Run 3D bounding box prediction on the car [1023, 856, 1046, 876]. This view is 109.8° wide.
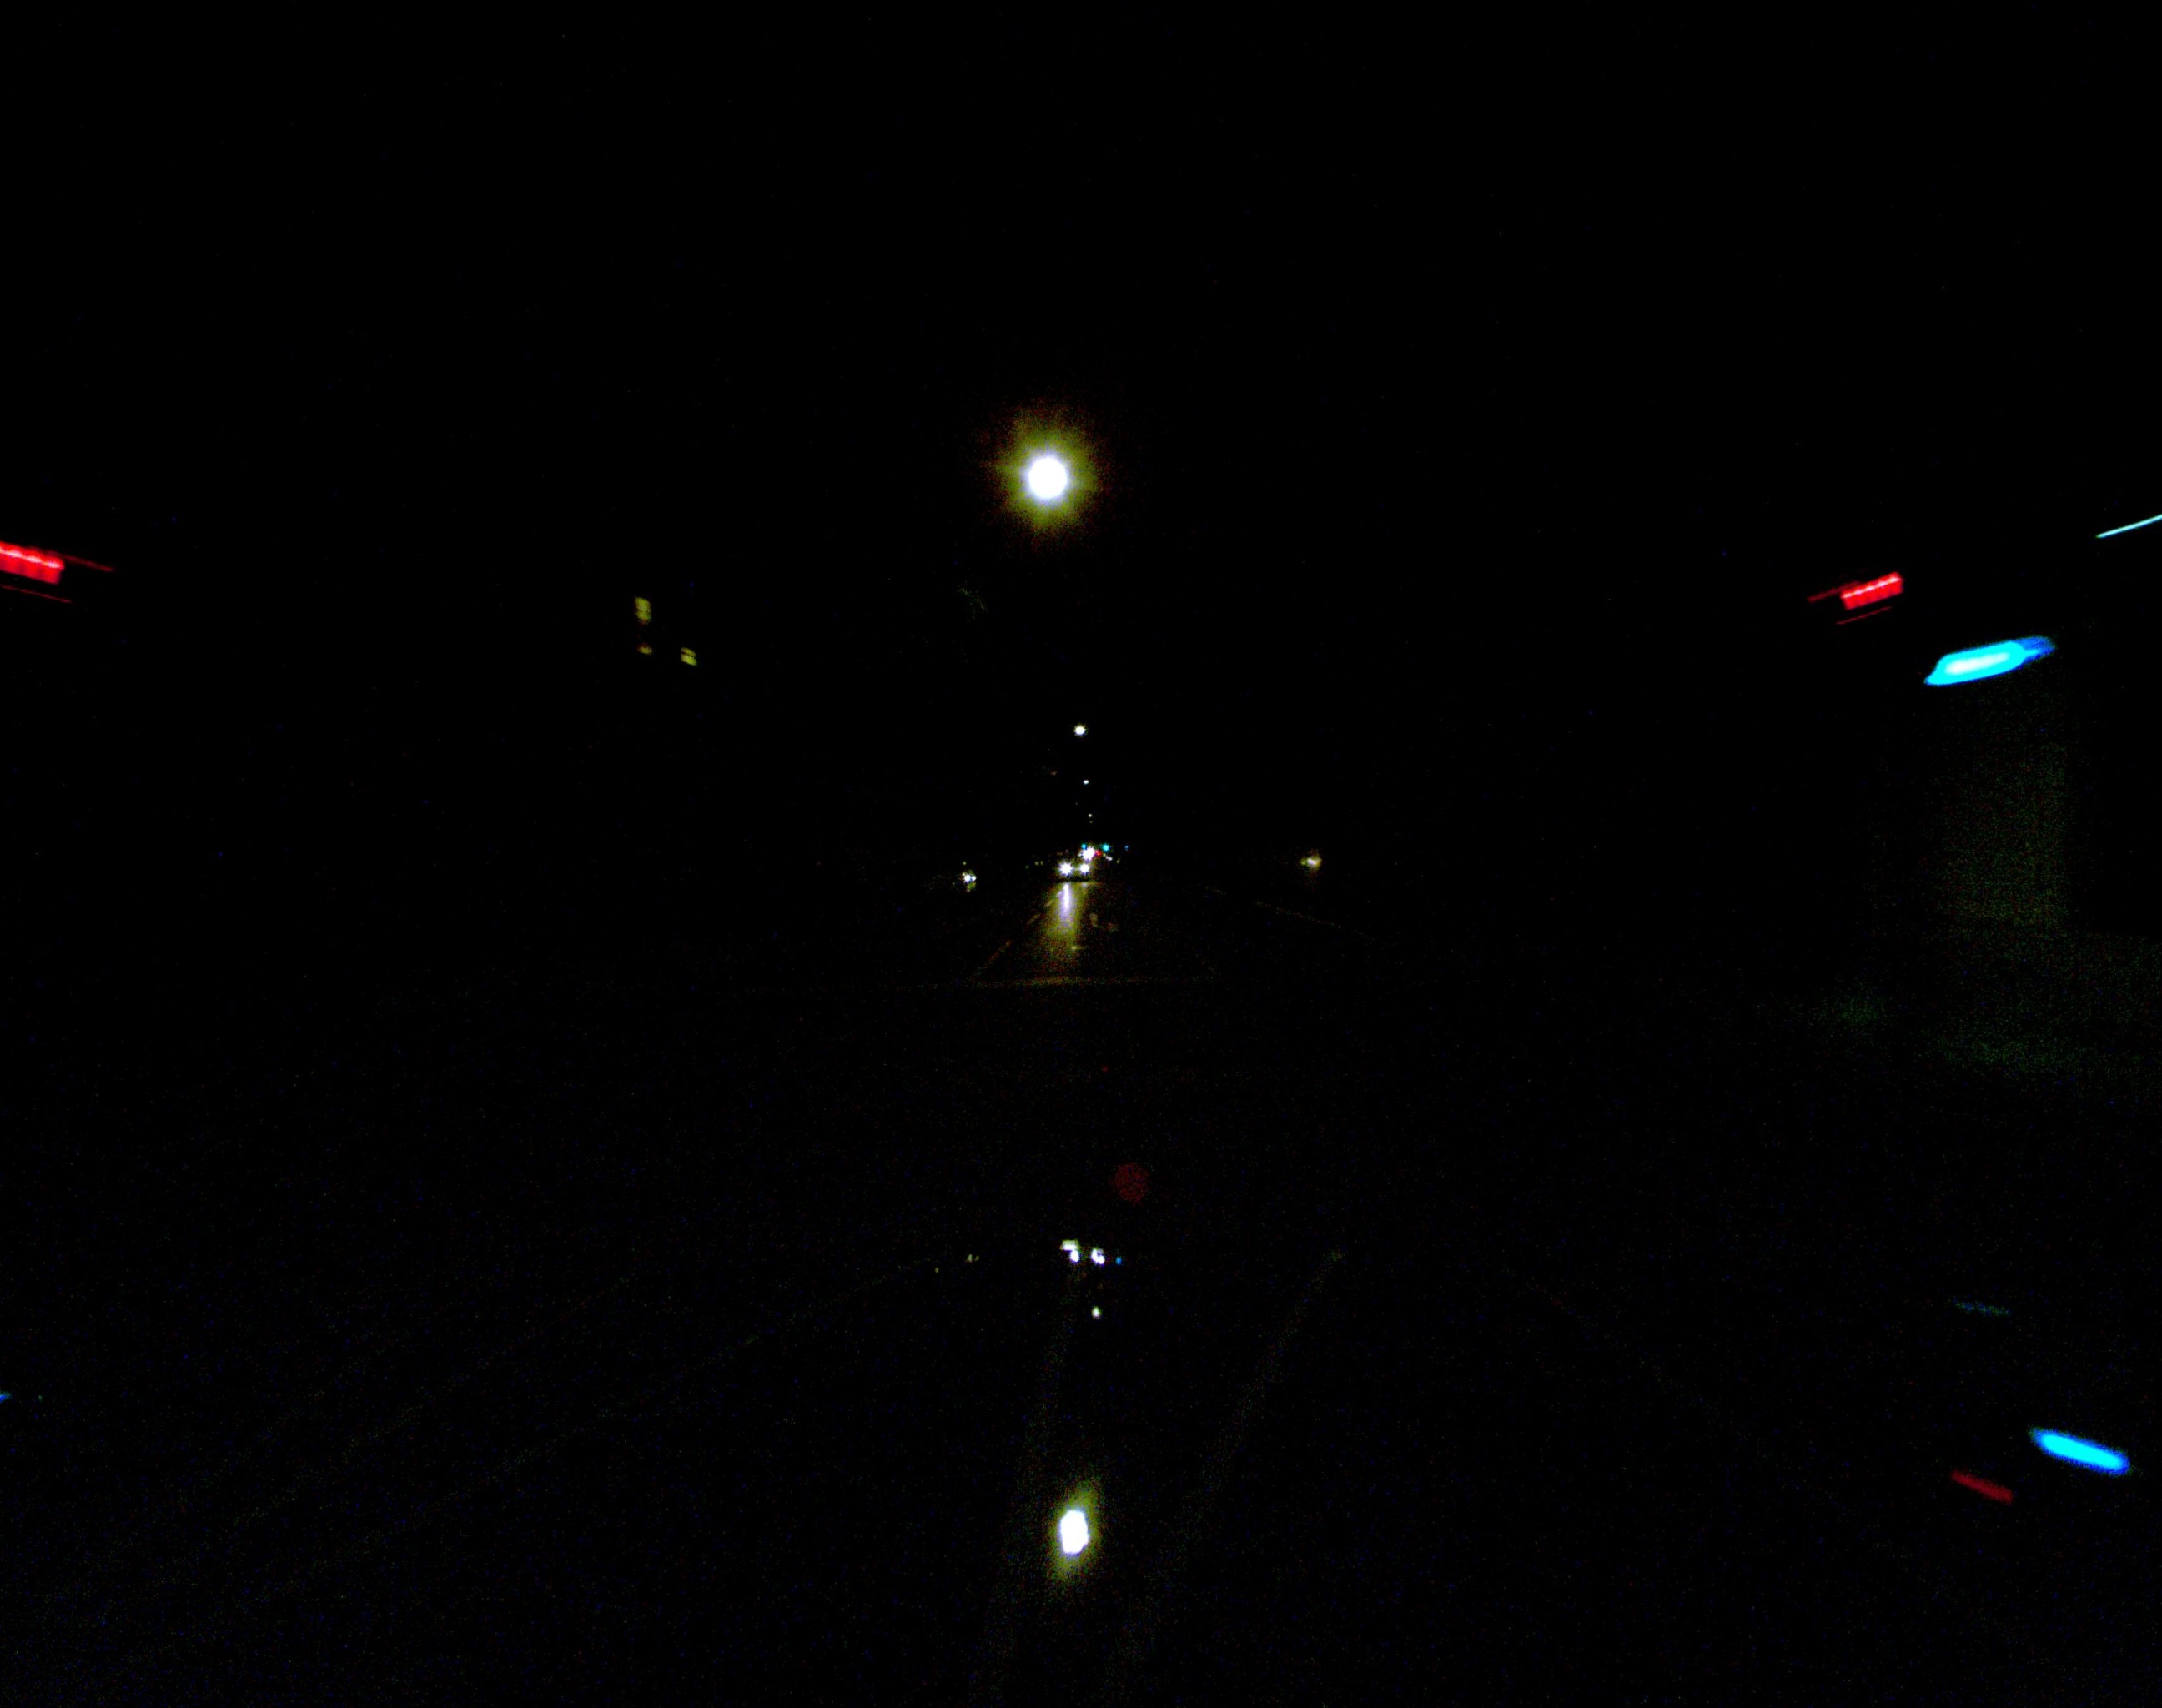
[{"bbox_3d":[-3.755,0.970,61.703,1.536,1.583,3.557,0,0,3],"label":"car"}]

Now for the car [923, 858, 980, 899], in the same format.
[{"bbox_3d":[-4.941,0.902,29.441,1.626,1.485,3.408,0,0,0],"label":"car"}]

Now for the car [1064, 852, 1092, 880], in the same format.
[{"bbox_3d":[-0.198,0.698,45.130,1.513,1.493,3.049,-4,1,-1],"label":"car"}]

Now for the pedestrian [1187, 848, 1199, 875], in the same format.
[{"bbox_3d":[6.509,0.451,44.010,0.561,1.521,0.590,-2,1,1],"label":"pedestrian"}]

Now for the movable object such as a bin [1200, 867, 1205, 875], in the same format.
[{"bbox_3d":[7.018,0.992,44.020,0.231,0.404,0.466,-2,0,4],"label":"movable object such as a bin"}]

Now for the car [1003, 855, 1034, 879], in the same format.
[{"bbox_3d":[-3.959,0.803,48.251,1.536,1.407,3.409,0,0,3],"label":"car"}]

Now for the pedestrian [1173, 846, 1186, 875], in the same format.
[{"bbox_3d":[5.665,0.352,43.778,0.649,1.632,0.748,-2,1,3],"label":"pedestrian"}]

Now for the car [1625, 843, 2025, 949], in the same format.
[{"bbox_3d":[10.486,0.551,10.948,3.997,1.355,1.802,-1,0,0],"label":"car"}]

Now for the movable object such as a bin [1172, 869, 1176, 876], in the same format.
[{"bbox_3d":[5.503,1.092,44.905,0.231,0.350,0.466,-2,0,4],"label":"movable object such as a bin"}]
